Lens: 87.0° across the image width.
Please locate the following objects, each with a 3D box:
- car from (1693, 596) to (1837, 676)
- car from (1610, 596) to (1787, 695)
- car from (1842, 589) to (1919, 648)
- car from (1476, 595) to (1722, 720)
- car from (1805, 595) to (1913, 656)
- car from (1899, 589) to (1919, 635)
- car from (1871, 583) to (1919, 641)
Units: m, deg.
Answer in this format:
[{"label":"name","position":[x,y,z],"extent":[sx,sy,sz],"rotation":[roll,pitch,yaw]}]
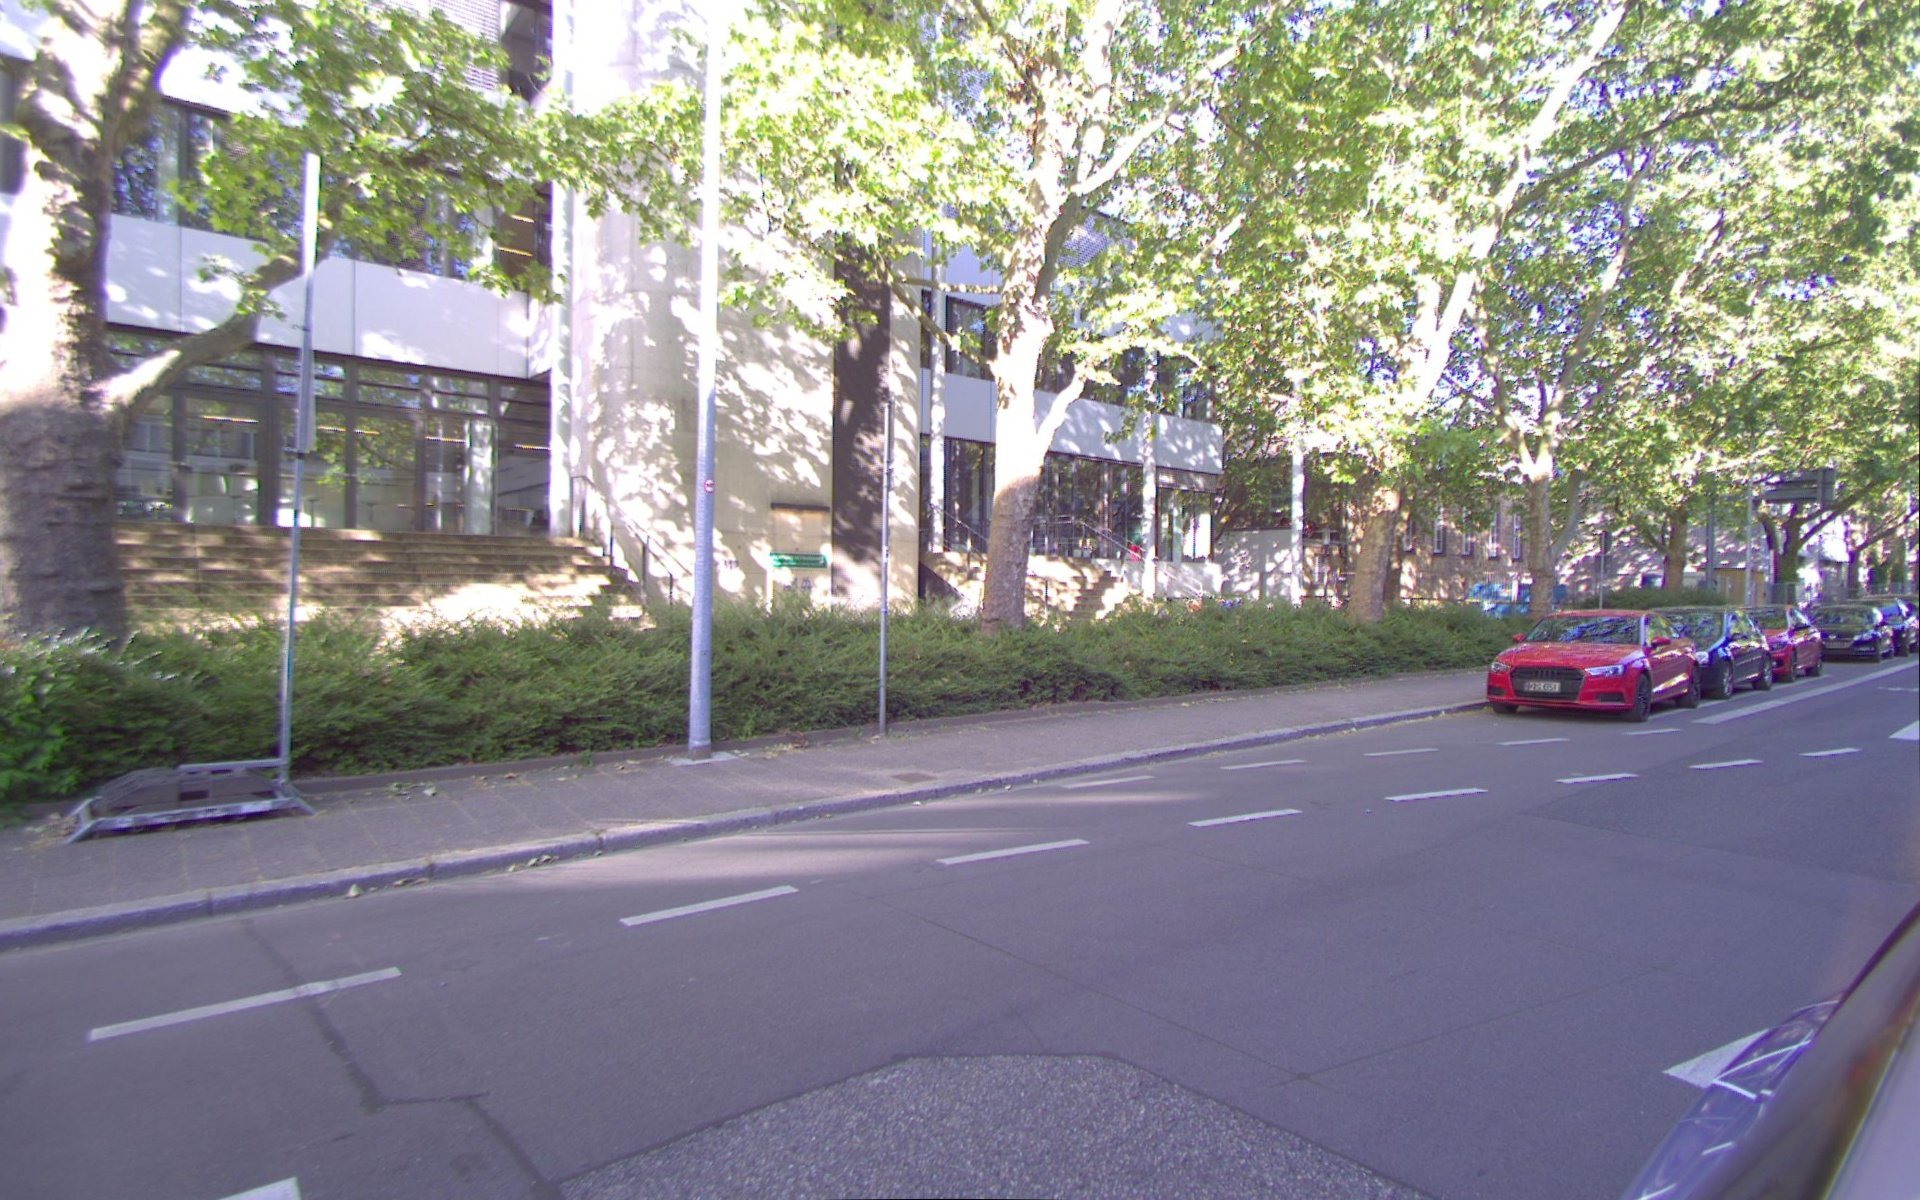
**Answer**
[{"label":"car","position":[16.359,0.671,20.520],"extent":[3.674,1.483,1.634],"rotation":[0,-1,-41]},{"label":"car","position":[12.570,0.691,17.159],"extent":[3.674,1.483,1.634],"rotation":[0,-1,-41]},{"label":"car","position":[27.253,0.504,29.630],"extent":[3.777,1.607,1.634],"rotation":[0,-1,-41]},{"label":"car","position":[8.986,0.688,14.113],"extent":[4.053,1.483,1.802],"rotation":[0,-1,-41]},{"label":"car","position":[23.605,0.625,26.538],"extent":[3.674,1.483,1.634],"rotation":[0,-1,-41]},{"label":"car","position":[36.503,0.426,37.816],"extent":[3.777,1.675,1.634],"rotation":[0,-1,-41]},{"label":"car","position":[31.585,0.384,33.499],"extent":[3.777,1.828,1.634],"rotation":[0,-1,-41]}]
